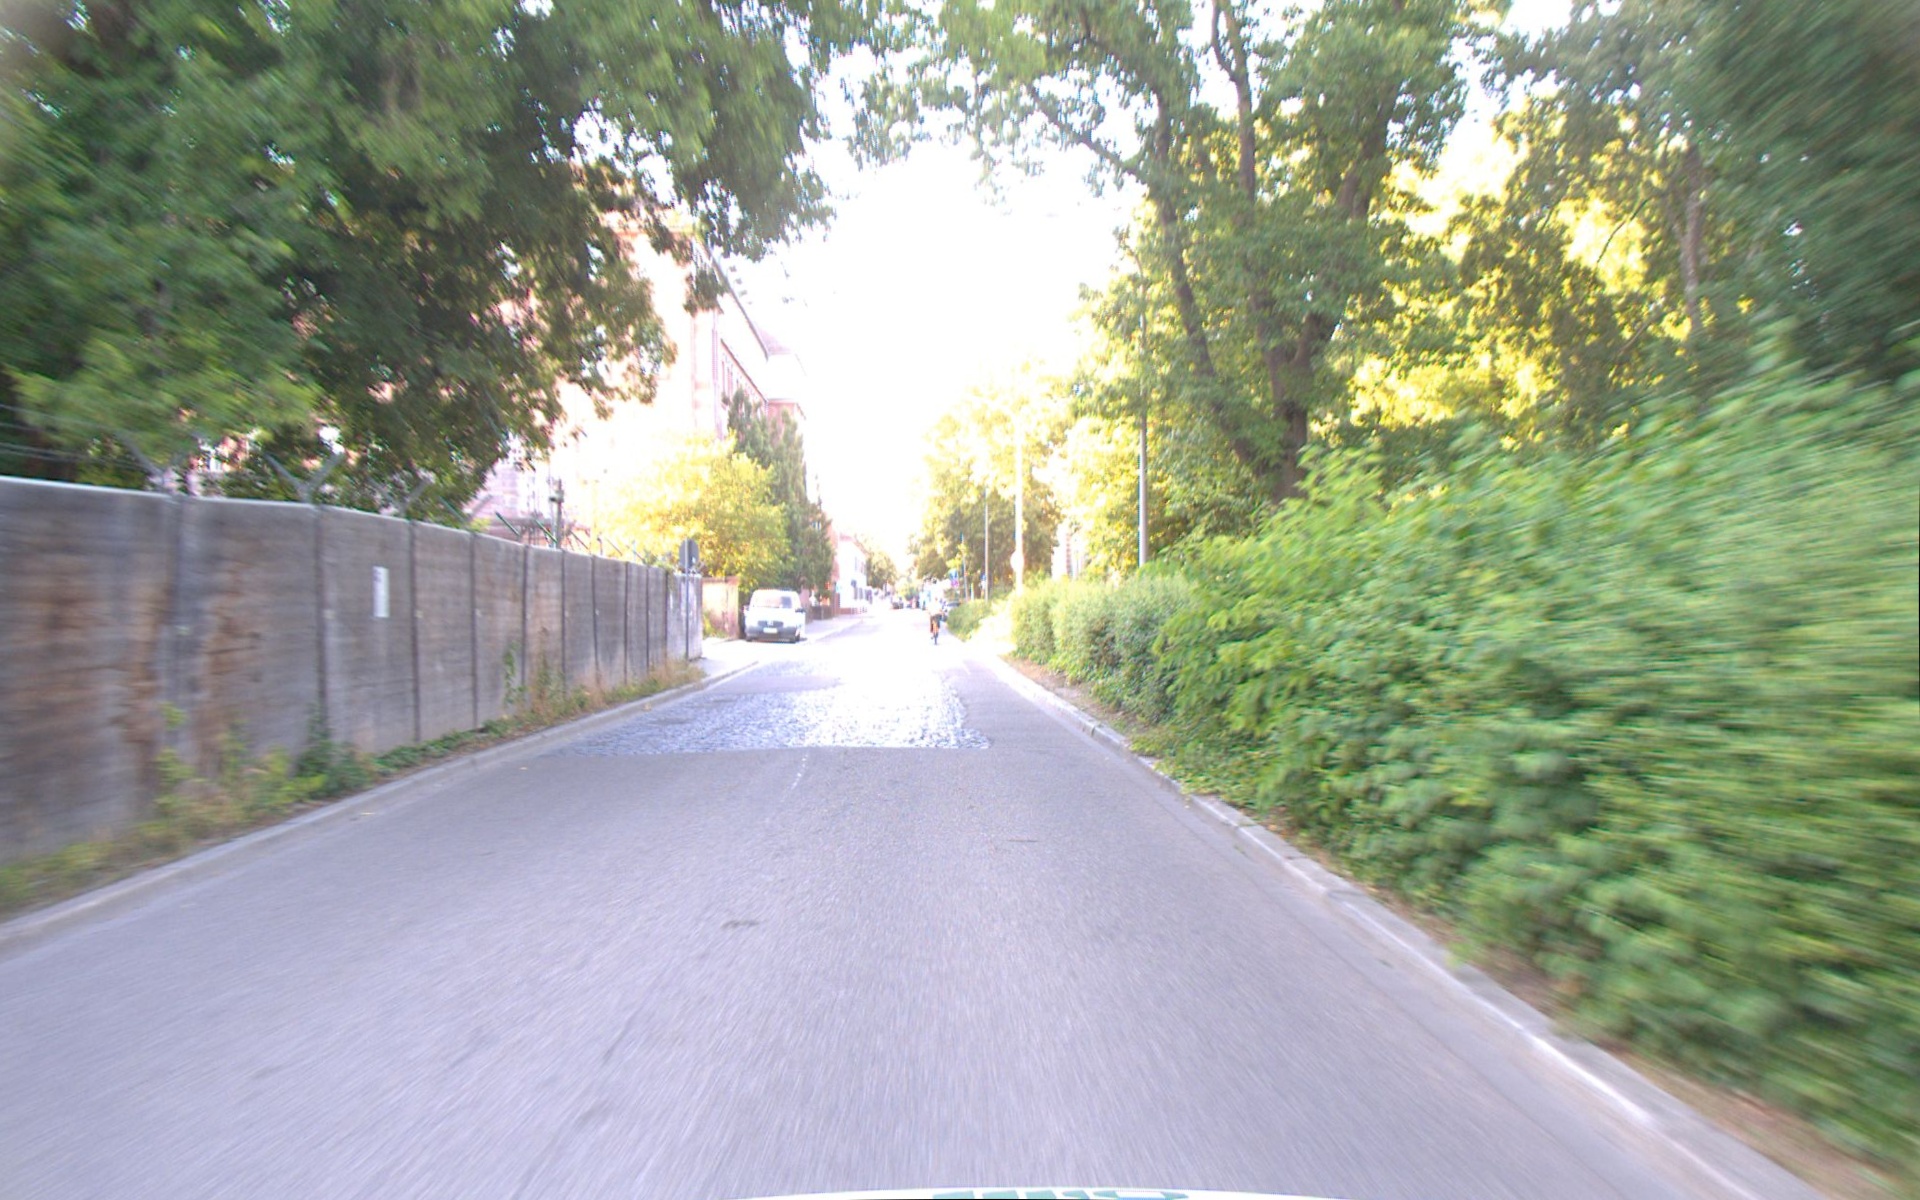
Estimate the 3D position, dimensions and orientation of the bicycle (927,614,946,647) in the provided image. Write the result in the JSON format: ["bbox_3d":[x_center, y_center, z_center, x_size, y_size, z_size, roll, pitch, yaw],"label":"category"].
[{"bbox_3d":[-0.908,1.140,62.729,0.625,1.214,1.874,1,-1,-4],"label":"bicycle"}]

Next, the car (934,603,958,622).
[{"bbox_3d":[-1.167,1.022,135.976,1.682,1.564,4.045,-1,0,-4],"label":"car"}]

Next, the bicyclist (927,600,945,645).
[{"bbox_3d":[-0.909,0.854,62.769,0.626,1.696,0.842,1,-1,-4],"label":"bicyclist"}]

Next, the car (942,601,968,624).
[{"bbox_3d":[-0.373,0.945,122.184,1.652,1.472,3.668,-4,-1,-4],"label":"car"}]

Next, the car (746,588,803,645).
[{"bbox_3d":[-6.968,0.656,62.481,1.845,2.049,5.221,1,-2,-4],"label":"car"}]
